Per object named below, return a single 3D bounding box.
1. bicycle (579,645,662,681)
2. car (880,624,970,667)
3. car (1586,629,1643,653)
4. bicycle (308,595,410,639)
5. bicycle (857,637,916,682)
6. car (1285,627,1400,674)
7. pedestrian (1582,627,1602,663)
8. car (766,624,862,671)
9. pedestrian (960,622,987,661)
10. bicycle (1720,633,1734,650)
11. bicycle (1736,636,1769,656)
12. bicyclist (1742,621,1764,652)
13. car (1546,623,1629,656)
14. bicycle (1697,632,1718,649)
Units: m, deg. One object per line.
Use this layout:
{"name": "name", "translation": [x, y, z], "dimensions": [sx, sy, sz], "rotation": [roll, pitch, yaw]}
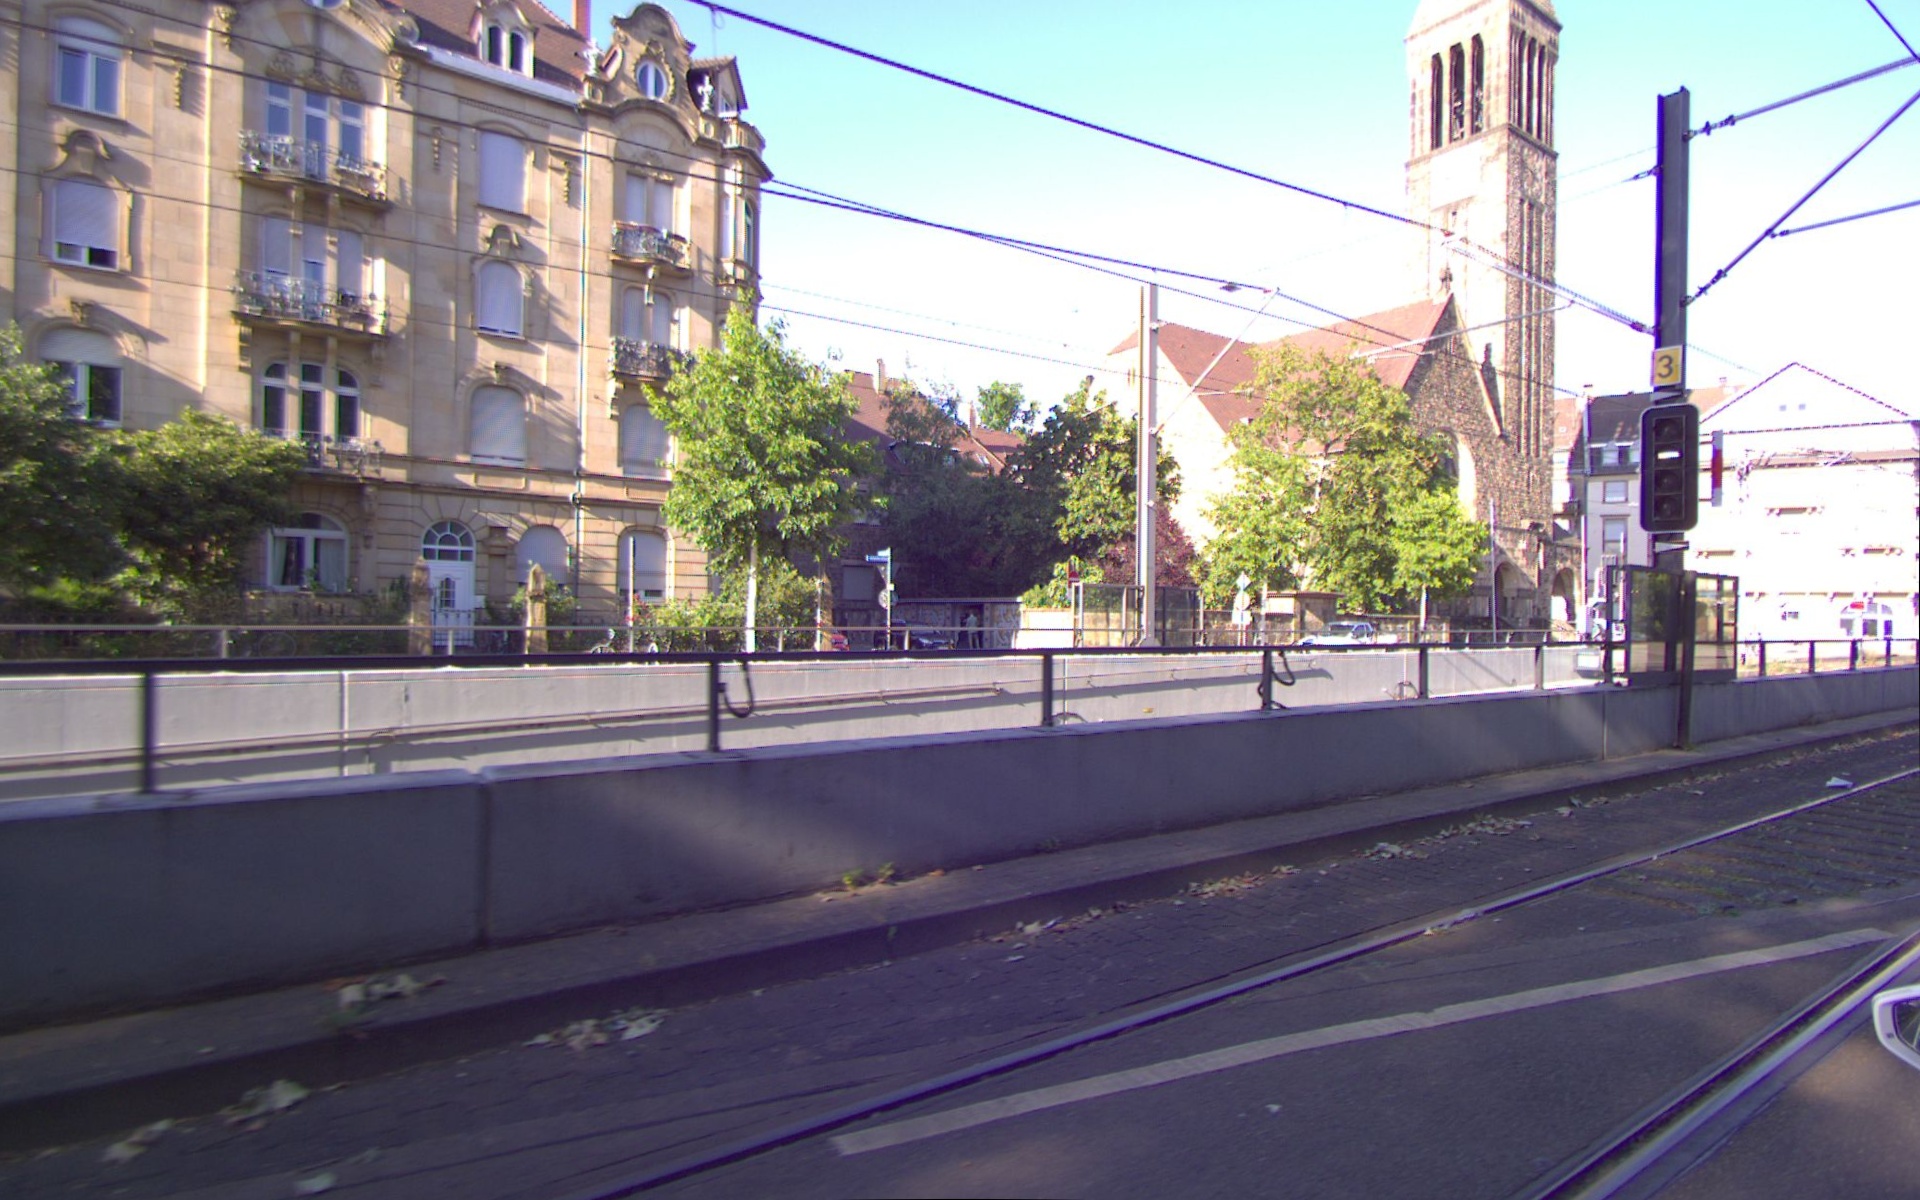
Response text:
{"name": "bicycle", "translation": [-8.322, 1.534, 24.647], "dimensions": [1.867, 0.811, 0.414], "rotation": [1, 1, -33]}
{"name": "car", "translation": [-1.469, 1.824, 41.334], "dimensions": [1.802, 1.673, 3.959], "rotation": [1, -2, -36]}
{"name": "car", "translation": [57.901, 3.586, 88.959], "dimensions": [1.961, 1.776, 4.597], "rotation": [2, 1, -1]}
{"name": "bicycle", "translation": [-14.569, 0.417, 24.384], "dimensions": [2.088, 1.032, 0.502], "rotation": [1, 1, -32]}
{"name": "bicycle", "translation": [-1.829, 1.484, 25.358], "dimensions": [0.478, 1.036, 1.889], "rotation": [3, 1, 30]}
{"name": "car", "translation": [14.155, 1.828, 37.104], "dimensions": [4.463, 1.576, 1.705], "rotation": [1, 1, -34]}
{"name": "pedestrian", "translation": [34.628, 2.450, 55.019], "dimensions": [0.748, 1.913, 0.601], "rotation": [1, 1, -33]}
{"name": "car", "translation": [-5.332, 1.666, 36.362], "dimensions": [1.802, 1.589, 3.959], "rotation": [1, -2, -36]}
{"name": "pedestrian", "translation": [0.596, 1.805, 43.594], "dimensions": [0.919, 1.609, 0.744], "rotation": [2, 1, -19]}
{"name": "bicycle", "translation": [64.612, 3.492, 84.612], "dimensions": [0.810, 1.300, 2.556], "rotation": [3, 1, 35]}
{"name": "bicycle", "translation": [45.235, 2.624, 57.341], "dimensions": [2.251, 1.159, 0.629], "rotation": [1, -3, -29]}
{"name": "bicyclist", "translation": [45.355, 2.072, 57.428], "dimensions": [0.904, 1.745, 0.629], "rotation": [1, -3, -29]}
{"name": "car", "translation": [39.332, 2.443, 63.079], "dimensions": [1.874, 1.780, 3.964], "rotation": [1, 1, -32]}
{"name": "bicycle", "translation": [63.597, 3.441, 85.509], "dimensions": [0.808, 1.300, 2.563], "rotation": [2, 1, 24]}
